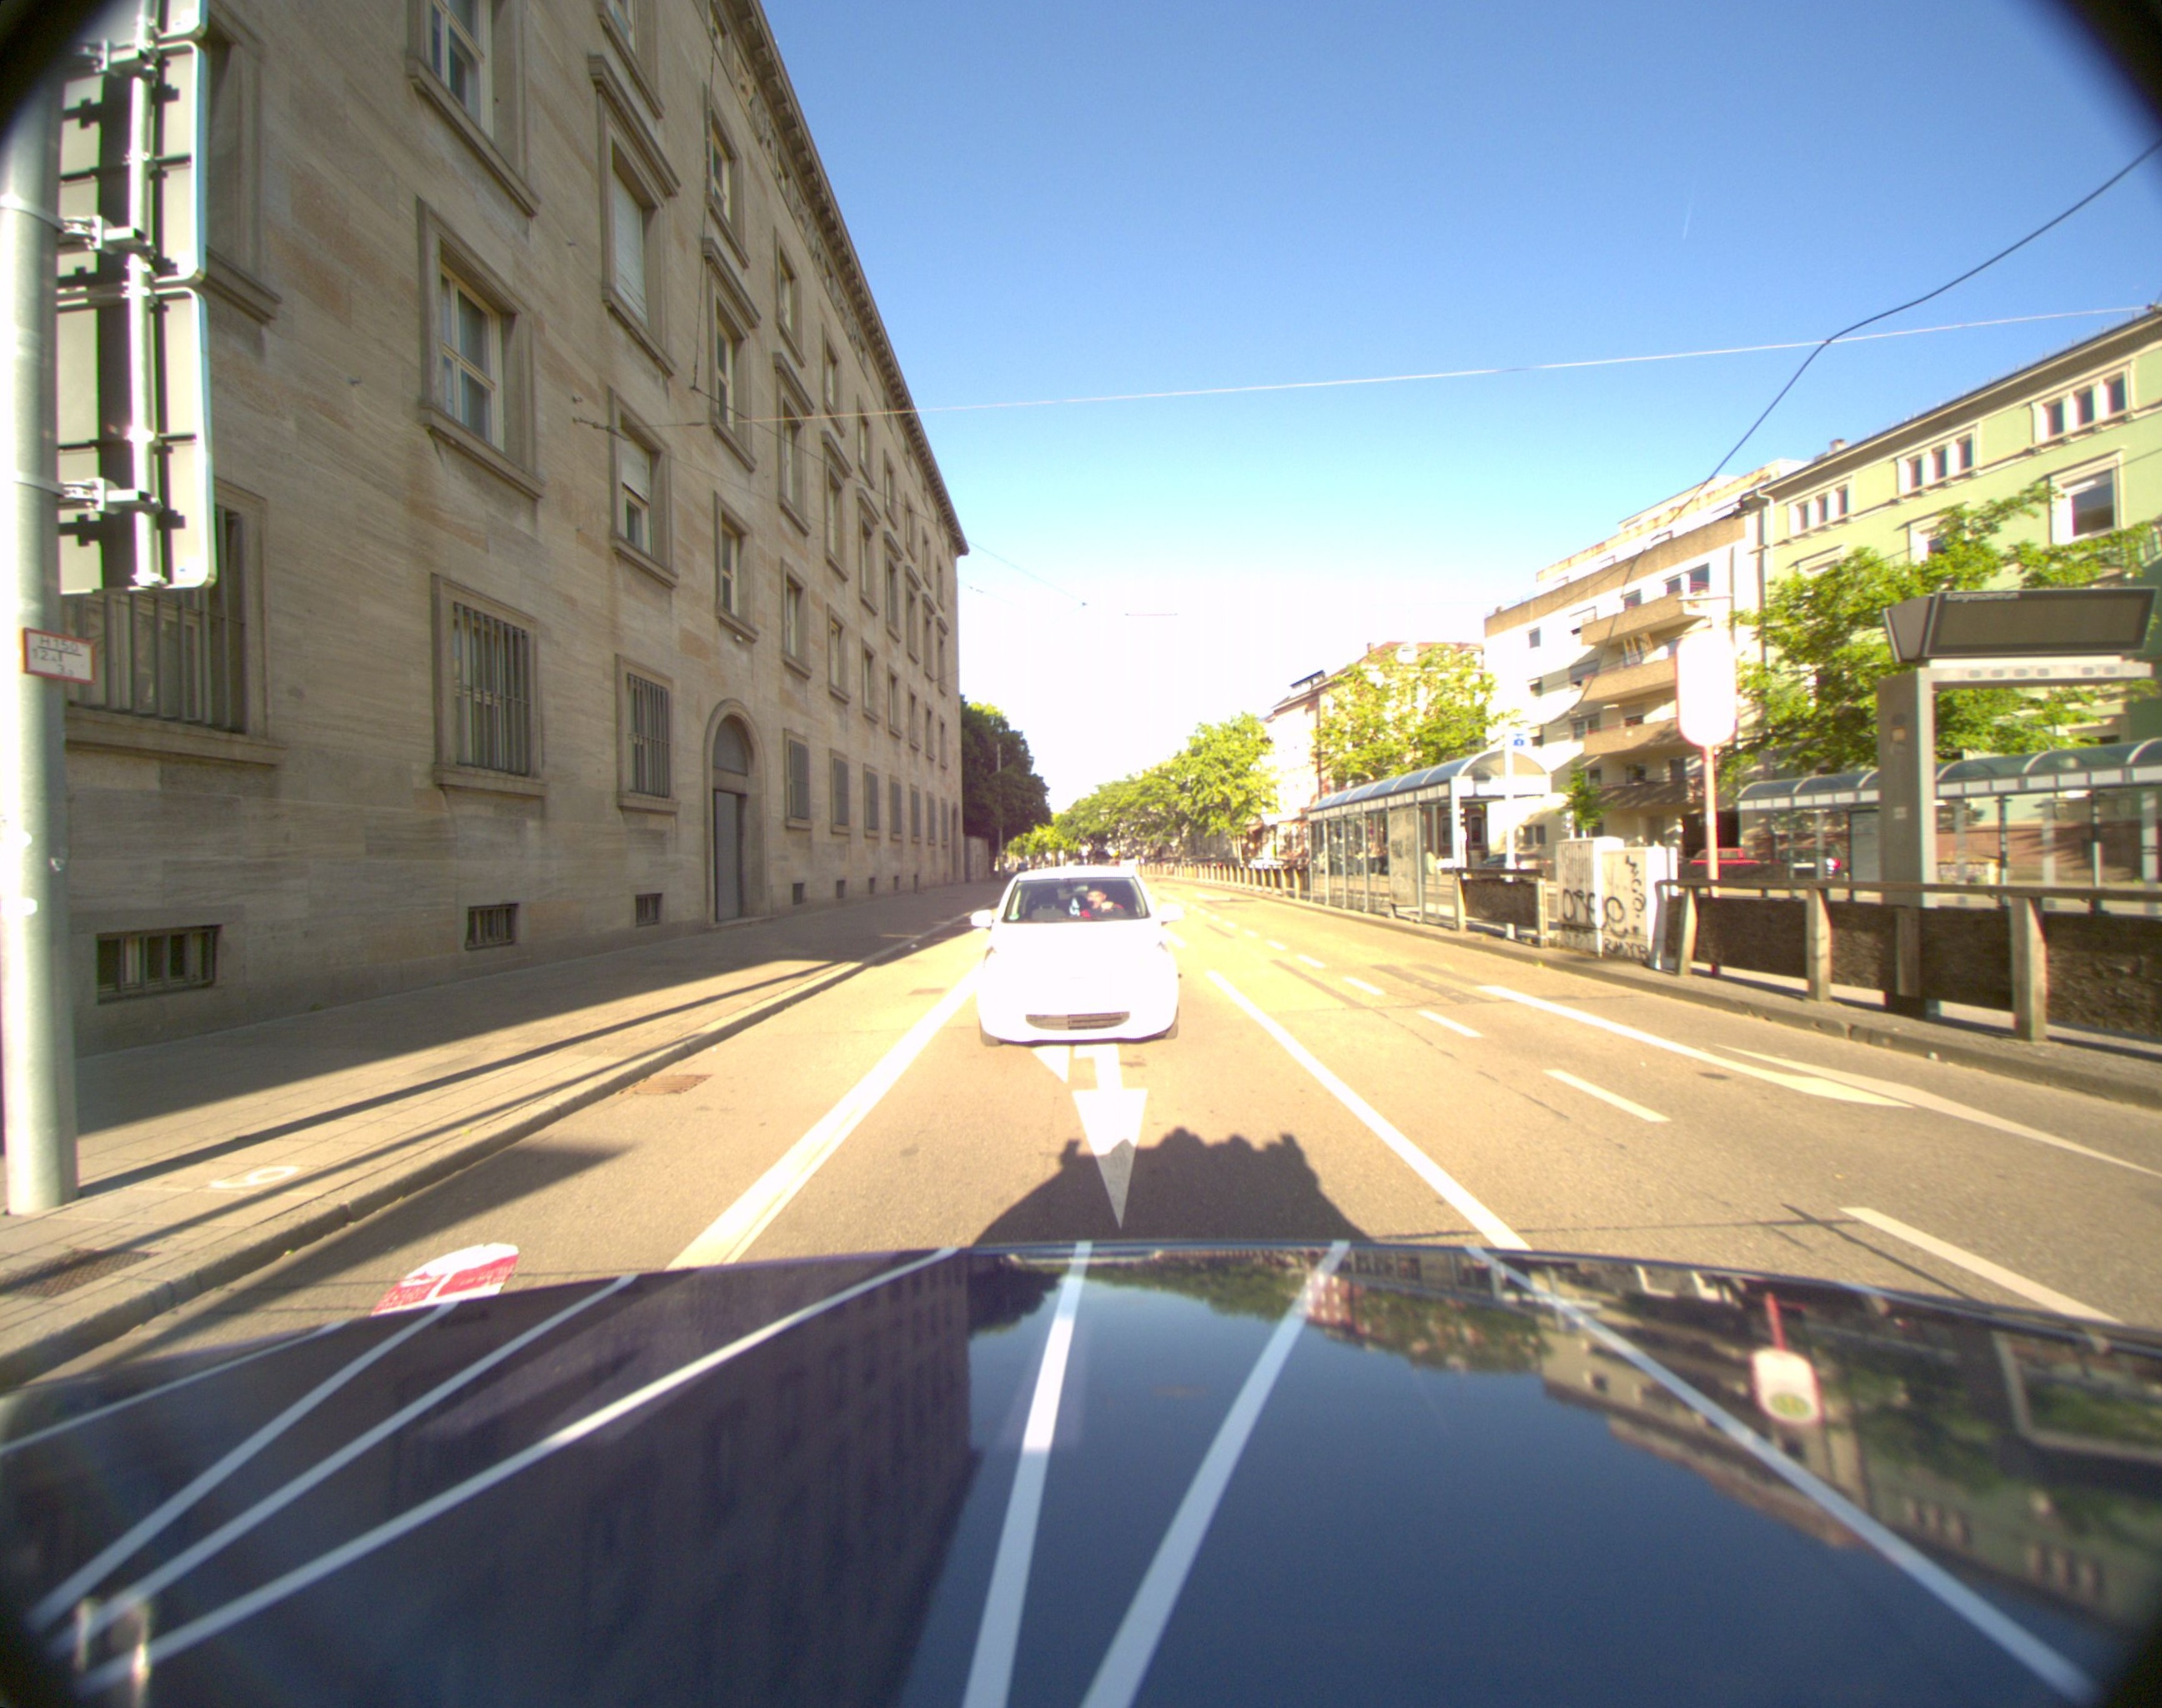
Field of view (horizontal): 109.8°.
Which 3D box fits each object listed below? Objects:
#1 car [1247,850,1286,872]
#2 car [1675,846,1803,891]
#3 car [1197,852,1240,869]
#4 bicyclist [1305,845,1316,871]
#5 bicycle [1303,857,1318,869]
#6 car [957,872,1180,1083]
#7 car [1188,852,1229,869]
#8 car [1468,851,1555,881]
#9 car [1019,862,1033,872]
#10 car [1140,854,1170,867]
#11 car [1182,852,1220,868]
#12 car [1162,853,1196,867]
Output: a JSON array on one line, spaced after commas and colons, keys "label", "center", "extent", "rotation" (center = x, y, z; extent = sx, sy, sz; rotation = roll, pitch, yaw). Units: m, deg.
[{"label": "car", "center": [16.324, 0.601, 66.816], "extent": [1.994, 1.713, 4.007], "rotation": [-1, 2, 34]}, {"label": "car", "center": [23.961, 0.519, 27.687], "extent": [3.796, 1.526, 1.772], "rotation": [-1, 0, -17]}, {"label": "car", "center": [13.654, 0.633, 75.731], "extent": [3.996, 1.674, 2.001], "rotation": [-1, 0, 4]}, {"label": "bicyclist", "center": [15.990, 0.272, 52.943], "extent": [0.536, 1.751, 0.771], "rotation": [-1, 1, 1]}, {"label": "bicycle", "center": [15.982, 0.603, 52.968], "extent": [0.536, 0.783, 1.853], "rotation": [-1, 0, 1]}, {"label": "car", "center": [-0.067, 0.950, 7.394], "extent": [1.612, 1.450, 3.668], "rotation": [-1, 0, 1]}, {"label": "car", "center": [13.367, 0.647, 79.865], "extent": [3.996, 1.674, 2.001], "rotation": [-1, 0, 4]}, {"label": "car", "center": [20.871, 0.581, 36.971], "extent": [1.615, 1.387, 3.516], "rotation": [-1, 0, -19]}, {"label": "car", "center": [-9.386, 2.188, 128.384], "extent": [2.000, 1.761, 3.997], "rotation": [-1, 0, -9]}, {"label": "car", "center": [9.577, 0.804, 98.854], "extent": [3.864, 1.583, 2.001], "rotation": [-1, 0, 4]}, {"label": "car", "center": [13.174, 0.647, 83.669], "extent": [3.996, 1.674, 2.001], "rotation": [-1, 0, 4]}, {"label": "car", "center": [11.451, 0.748, 89.228], "extent": [3.864, 1.583, 2.001], "rotation": [-1, 0, 5]}]
